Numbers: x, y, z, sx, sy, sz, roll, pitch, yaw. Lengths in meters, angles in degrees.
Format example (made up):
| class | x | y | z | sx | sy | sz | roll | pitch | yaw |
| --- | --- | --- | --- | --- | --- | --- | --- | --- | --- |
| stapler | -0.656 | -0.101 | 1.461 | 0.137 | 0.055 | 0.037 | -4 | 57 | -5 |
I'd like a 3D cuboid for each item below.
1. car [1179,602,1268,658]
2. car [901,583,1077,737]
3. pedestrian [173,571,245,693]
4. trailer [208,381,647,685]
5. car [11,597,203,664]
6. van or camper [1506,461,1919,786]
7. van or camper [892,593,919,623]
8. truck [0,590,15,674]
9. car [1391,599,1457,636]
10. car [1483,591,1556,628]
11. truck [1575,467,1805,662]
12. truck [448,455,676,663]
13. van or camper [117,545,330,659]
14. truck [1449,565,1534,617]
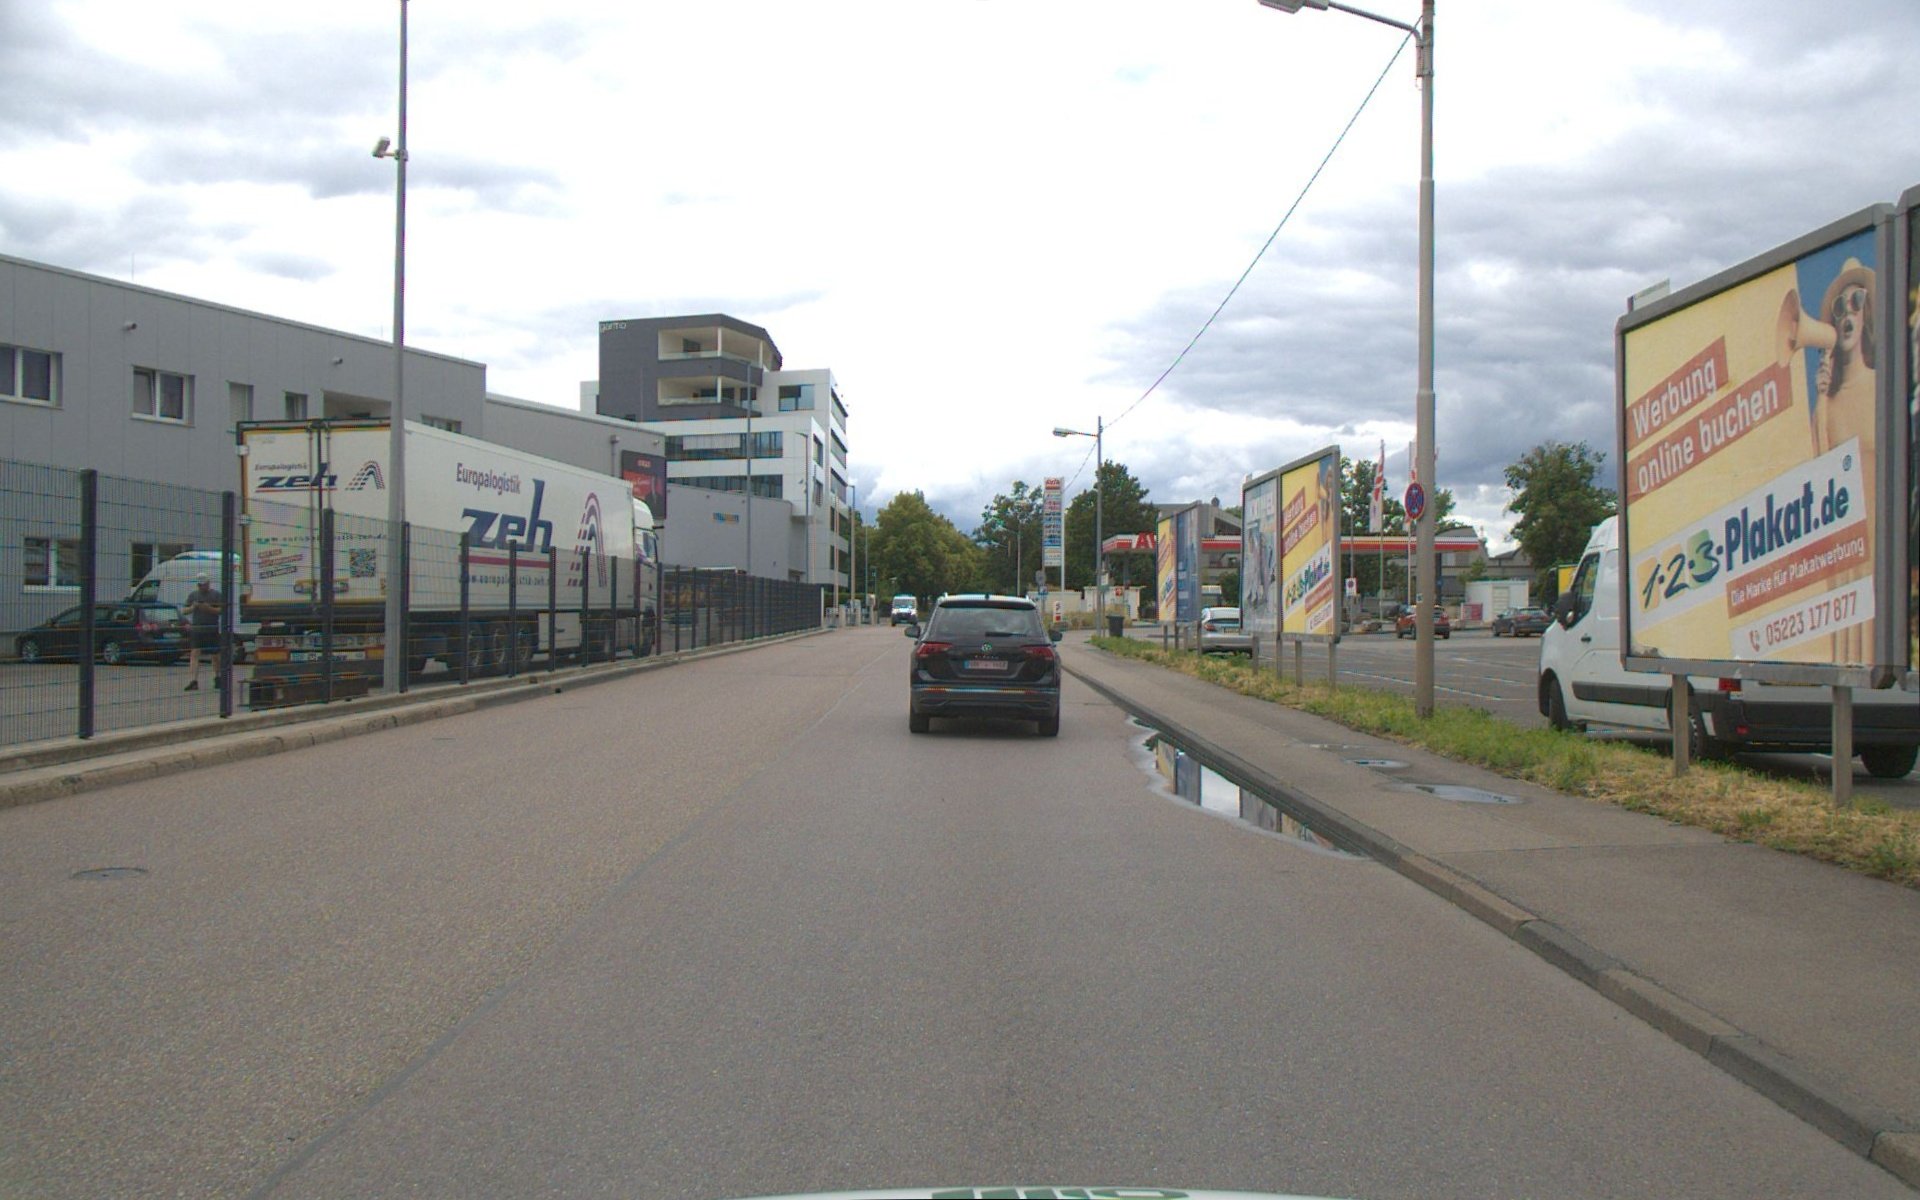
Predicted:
| class | x | y | z | sx | sy | sz | roll | pitch | yaw |
| --- | --- | --- | --- | --- | --- | --- | --- | --- | --- |
| car | 7.563 | 0.824 | 47.762 | 1.851 | 1.470 | 4.428 | 2 | 0 | 0 |
| car | 0.329 | 0.684 | 20.681 | 1.953 | 1.713 | 4.371 | 0 | 0 | 0 |
| pedestrian | -11.669 | 0.490 | 25.718 | 0.683 | 1.861 | 0.824 | 0 | 0 | 4 |
| trailer | -9.296 | -0.983 | 31.735 | 3.068 | 4.335 | 14.024 | -4 | 0 | 3 |
| car | -20.671 | 0.712 | 40.116 | 3.904 | 1.579 | 2.001 | 0 | 0 | 19 |
| van or camper | 7.583 | 0.196 | 16.742 | 2.209 | 2.694 | 6.115 | 0 | 0 | 1 |
| van or camper | -4.227 | 0.597 | 129.080 | 1.953 | 2.296 | 4.000 | 0 | 0 | 0 |
| truck | -21.669 | 0.634 | 33.086 | 4.811 | 1.681 | 2.228 | 0 | 0 | 20 |
| car | 22.185 | 0.824 | 79.234 | 1.953 | 1.736 | 3.998 | 0 | 0 | -2 |
| car | 26.692 | 0.447 | 78.992 | 1.953 | 1.736 | 4.186 | 0 | 0 | -2 |
| truck | 21.063 | -0.965 | 48.423 | 3.239 | 5.182 | 8.516 | 0 | 0 | 2 |
| truck | -8.974 | -0.852 | 38.274 | 3.063 | 4.188 | 6.944 | -4 | 0 | 3 |
| van or camper | -18.886 | 0.049 | 42.459 | 4.867 | 2.811 | 2.105 | 0 | 0 | 19 |
| truck | 33.906 | -0.645 | 105.762 | 3.109 | 3.200 | 7.510 | 0 | 1 | 1 |
